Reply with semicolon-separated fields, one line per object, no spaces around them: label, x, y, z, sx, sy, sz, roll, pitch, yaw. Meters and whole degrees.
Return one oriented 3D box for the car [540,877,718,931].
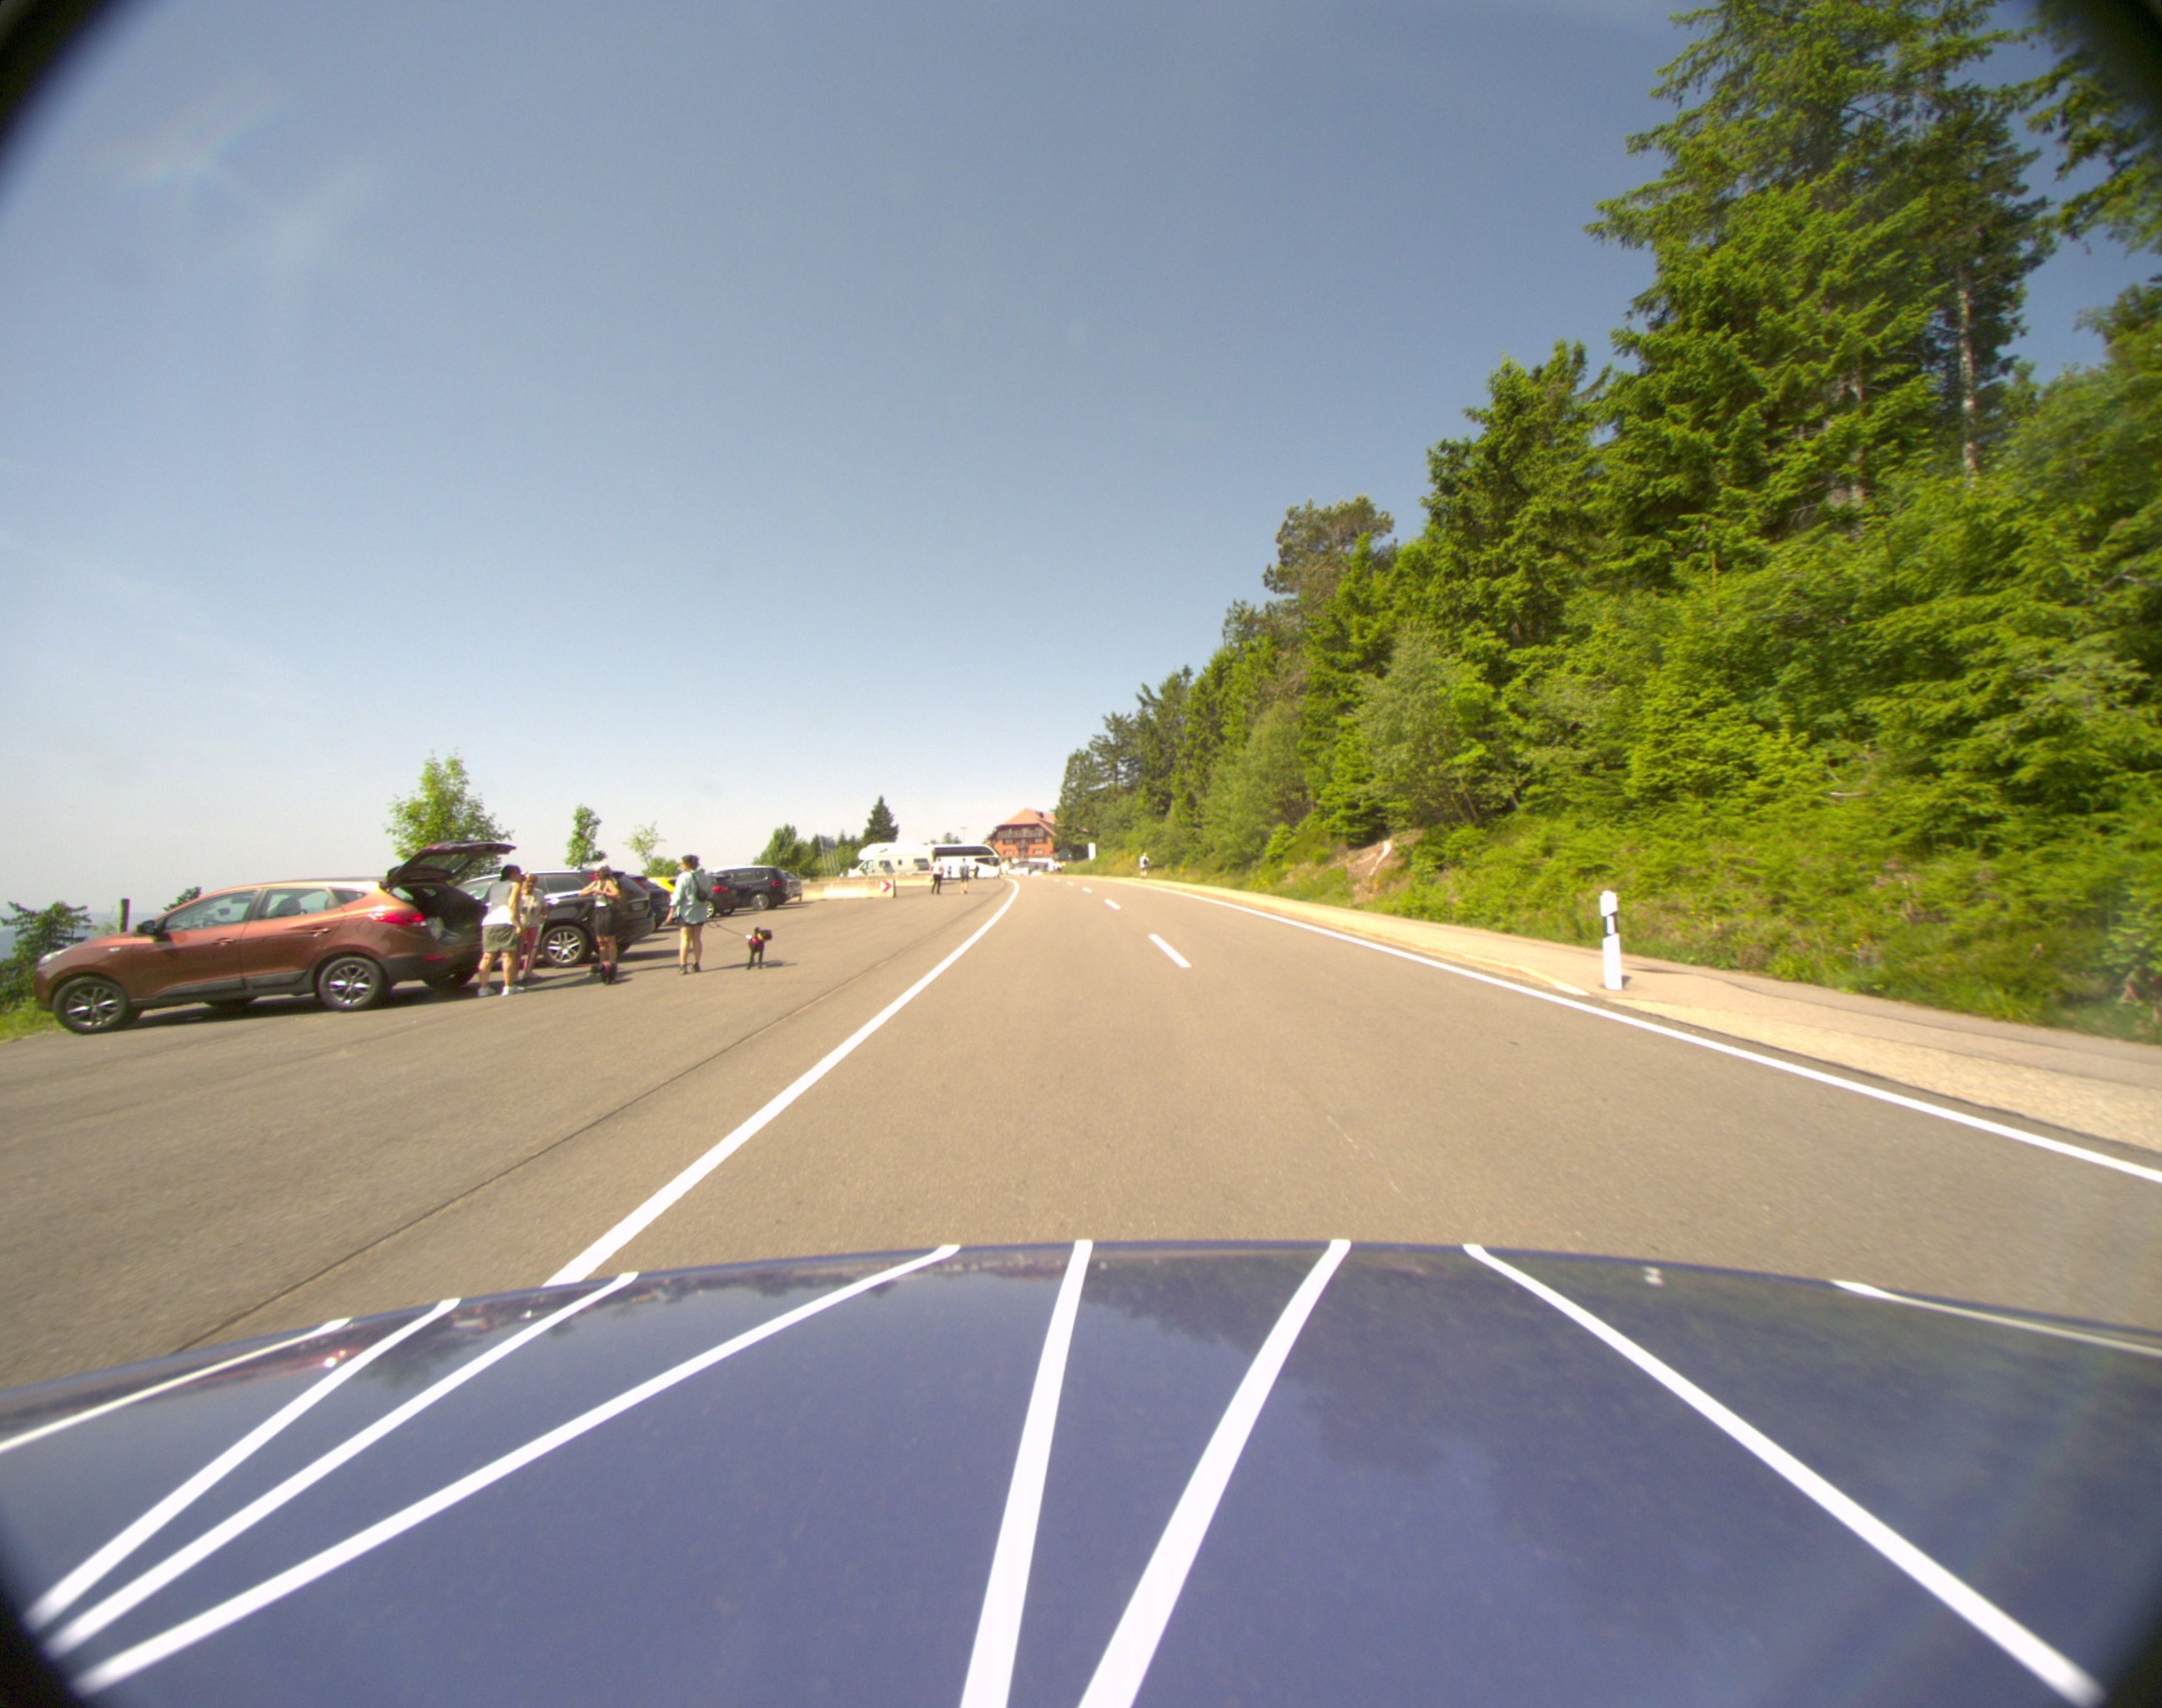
car;-13.239;1.430;22.449;3.997;1.345;1.987;-2;0;0

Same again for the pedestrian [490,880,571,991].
pedestrian;-8.167;1.179;11.285;0.618;1.577;0.736;-1;-1;15

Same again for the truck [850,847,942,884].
truck;-13.603;0.834;56.234;6.279;2.575;2.339;-1;-1;-5

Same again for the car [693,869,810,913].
car;-13.510;1.483;31.310;3.999;1.467;1.772;-3;0;-7

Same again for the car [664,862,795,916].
car;-12.822;1.242;27.909;4.000;1.637;1.599;-4;1;-8

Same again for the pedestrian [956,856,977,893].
pedestrian;-5.479;0.991;36.370;0.755;1.750;0.776;-1;0;9

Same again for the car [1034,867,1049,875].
car;-7.992;3.450;154.657;1.711;1.543;3.140;-1;-1;24

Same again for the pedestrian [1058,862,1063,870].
pedestrian;-2.540;1.500;95.190;0.570;1.095;0.744;0;-1;-9

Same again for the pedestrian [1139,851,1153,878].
pedestrian;4.255;0.688;49.549;0.684;1.736;0.824;-2;0;-10

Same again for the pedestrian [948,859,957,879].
pedestrian;-11.602;1.358;68.779;0.631;1.747;0.628;-1;0;8

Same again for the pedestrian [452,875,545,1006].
pedestrian;-7.606;1.102;9.945;0.654;1.650;0.688;0;-1;8

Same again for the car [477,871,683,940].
car;-12.639;1.308;19.416;4.000;1.526;1.807;-2;-3;-8

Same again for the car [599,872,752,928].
car;-13.327;1.486;25.131;4.007;1.428;1.763;-4;1;0

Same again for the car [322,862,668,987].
car;-9.778;1.122;13.057;4.278;1.783;1.891;-2;-1;-9

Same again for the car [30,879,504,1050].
car;-10.006;1.277;9.668;3.829;1.651;1.651;-3;0;-9

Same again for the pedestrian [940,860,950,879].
pedestrian;-12.376;1.414;69.030;0.631;1.641;0.629;-1;0;19

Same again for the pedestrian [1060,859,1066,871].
pedestrian;-2.341;1.414;97.710;0.578;1.633;0.893;0;-1;-9

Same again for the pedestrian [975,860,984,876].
pedestrian;-9.566;1.321;71.773;0.631;1.557;0.628;-1;0;8

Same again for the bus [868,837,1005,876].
bus;-14.049;0.282;74.815;12.883;3.556;2.838;-1;0;-4

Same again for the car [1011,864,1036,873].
car;-10.316;2.580;136.178;3.954;1.578;1.793;-1;-1;21

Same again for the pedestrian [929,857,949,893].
pedestrian;-6.778;1.002;36.369;0.666;1.730;0.895;-1;0;9

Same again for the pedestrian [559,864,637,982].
pedestrian;-7.216;1.010;11.379;0.717;1.682;0.619;-2;0;2

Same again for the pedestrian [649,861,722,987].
pedestrian;-5.797;1.002;11.168;0.618;1.765;0.724;-2;0;2

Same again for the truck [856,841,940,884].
truck;-14.231;0.639;59.530;6.083;3.177;2.531;-1;0;-7
